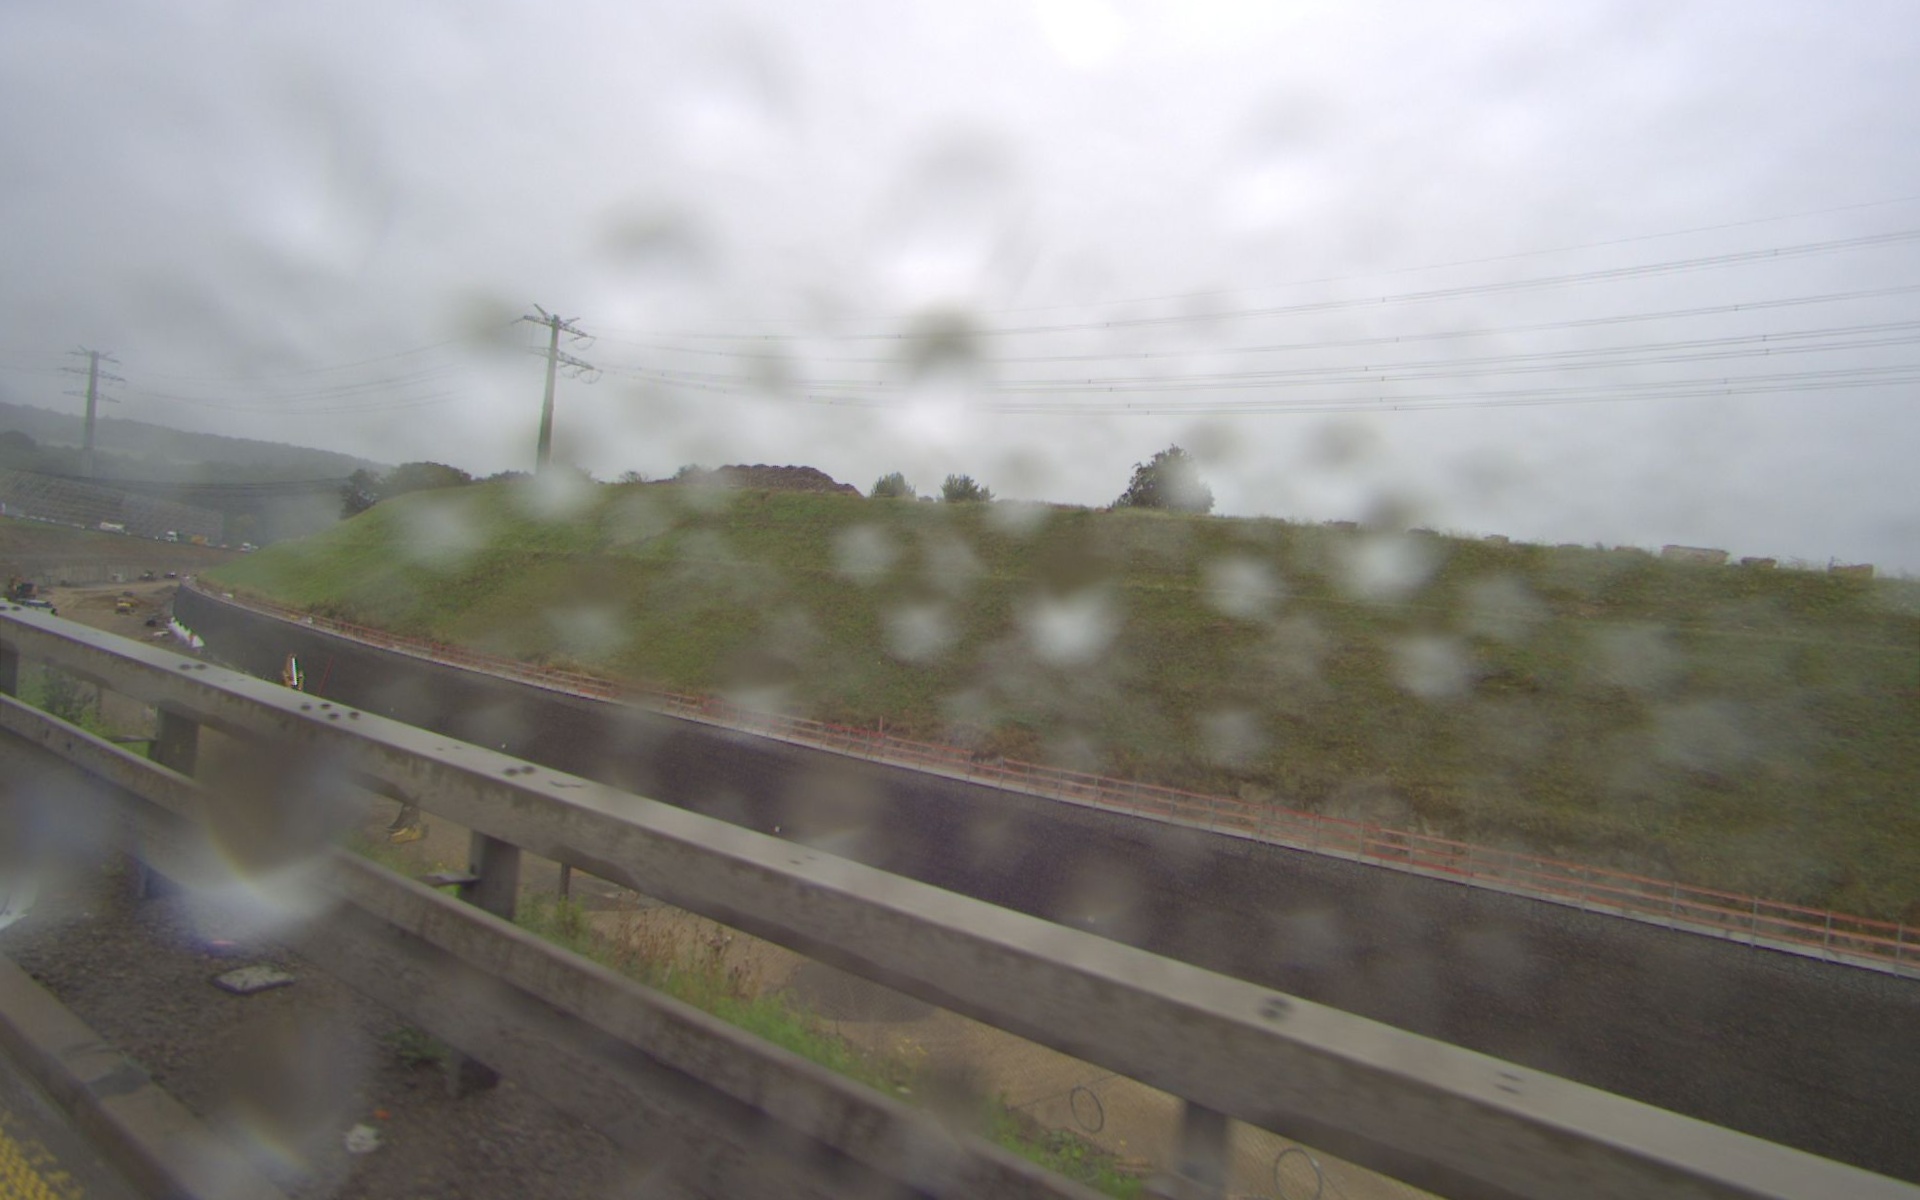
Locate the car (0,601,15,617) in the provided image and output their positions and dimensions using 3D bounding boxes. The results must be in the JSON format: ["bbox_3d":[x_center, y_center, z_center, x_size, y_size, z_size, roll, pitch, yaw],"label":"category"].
[{"bbox_3d":[-144.293,1.309,151.921,1.988,2.037,3.953,9,-2,-42],"label":"car"}]

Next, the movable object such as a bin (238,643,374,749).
[{"bbox_3d":[-29.007,4.286,44.629,4.054,3.910,3.222,8,-2,33],"label":"movable object such as a bin"}]

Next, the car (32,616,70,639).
[{"bbox_3d":[-106.265,3.249,117.602,3.937,2.037,2.368,7,-2,35],"label":"car"}]

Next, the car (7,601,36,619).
[{"bbox_3d":[-120.037,1.304,128.685,3.940,1.837,1.994,6,-1,37],"label":"car"}]
